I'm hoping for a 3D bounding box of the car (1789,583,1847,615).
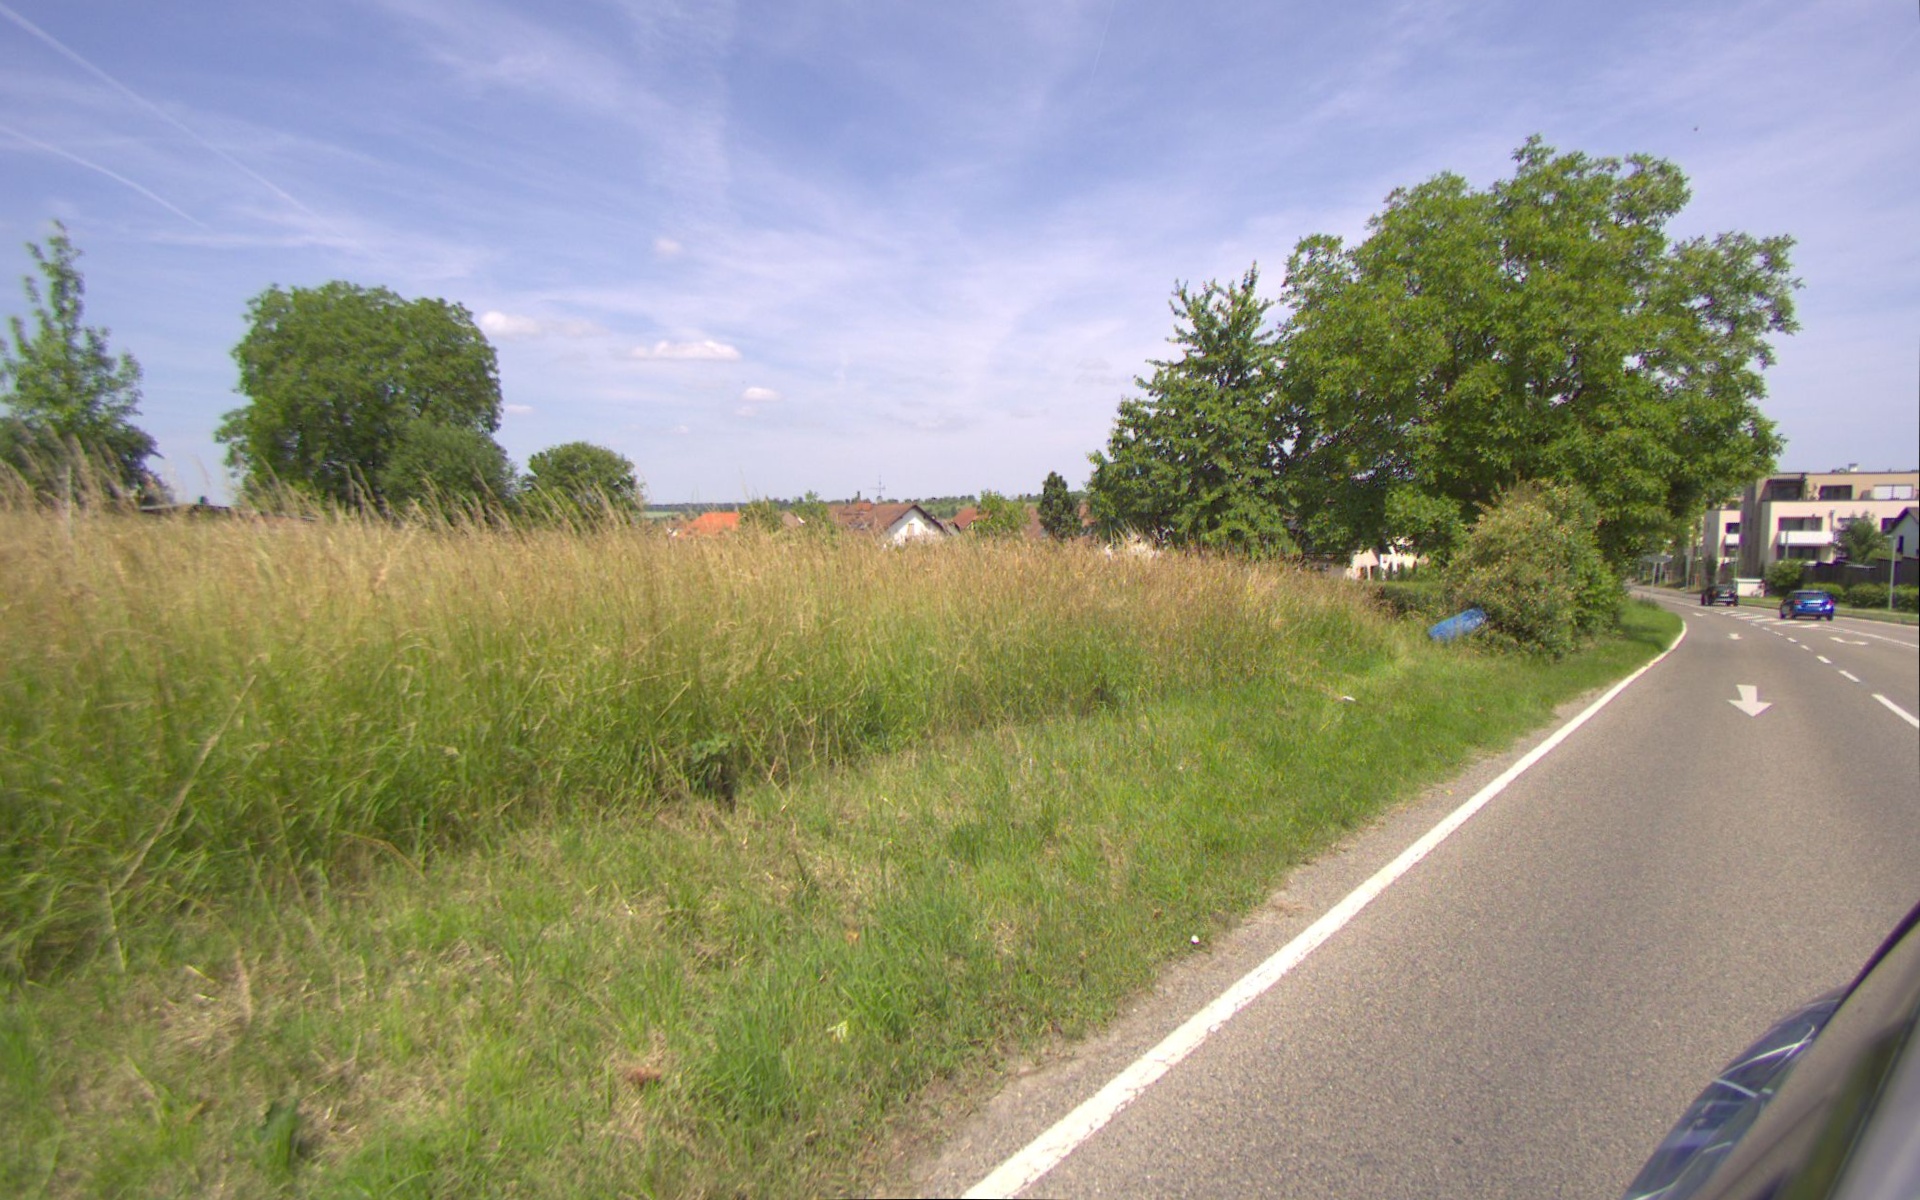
[{"bbox_3d":[44.010,-0.048,51.971,1.601,1.510,3.807,3,2,31],"label":"car"}]

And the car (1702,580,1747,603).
[{"bbox_3d":[57.541,-0.651,76.235,1.811,1.600,3.967,2,2,25],"label":"car"}]
